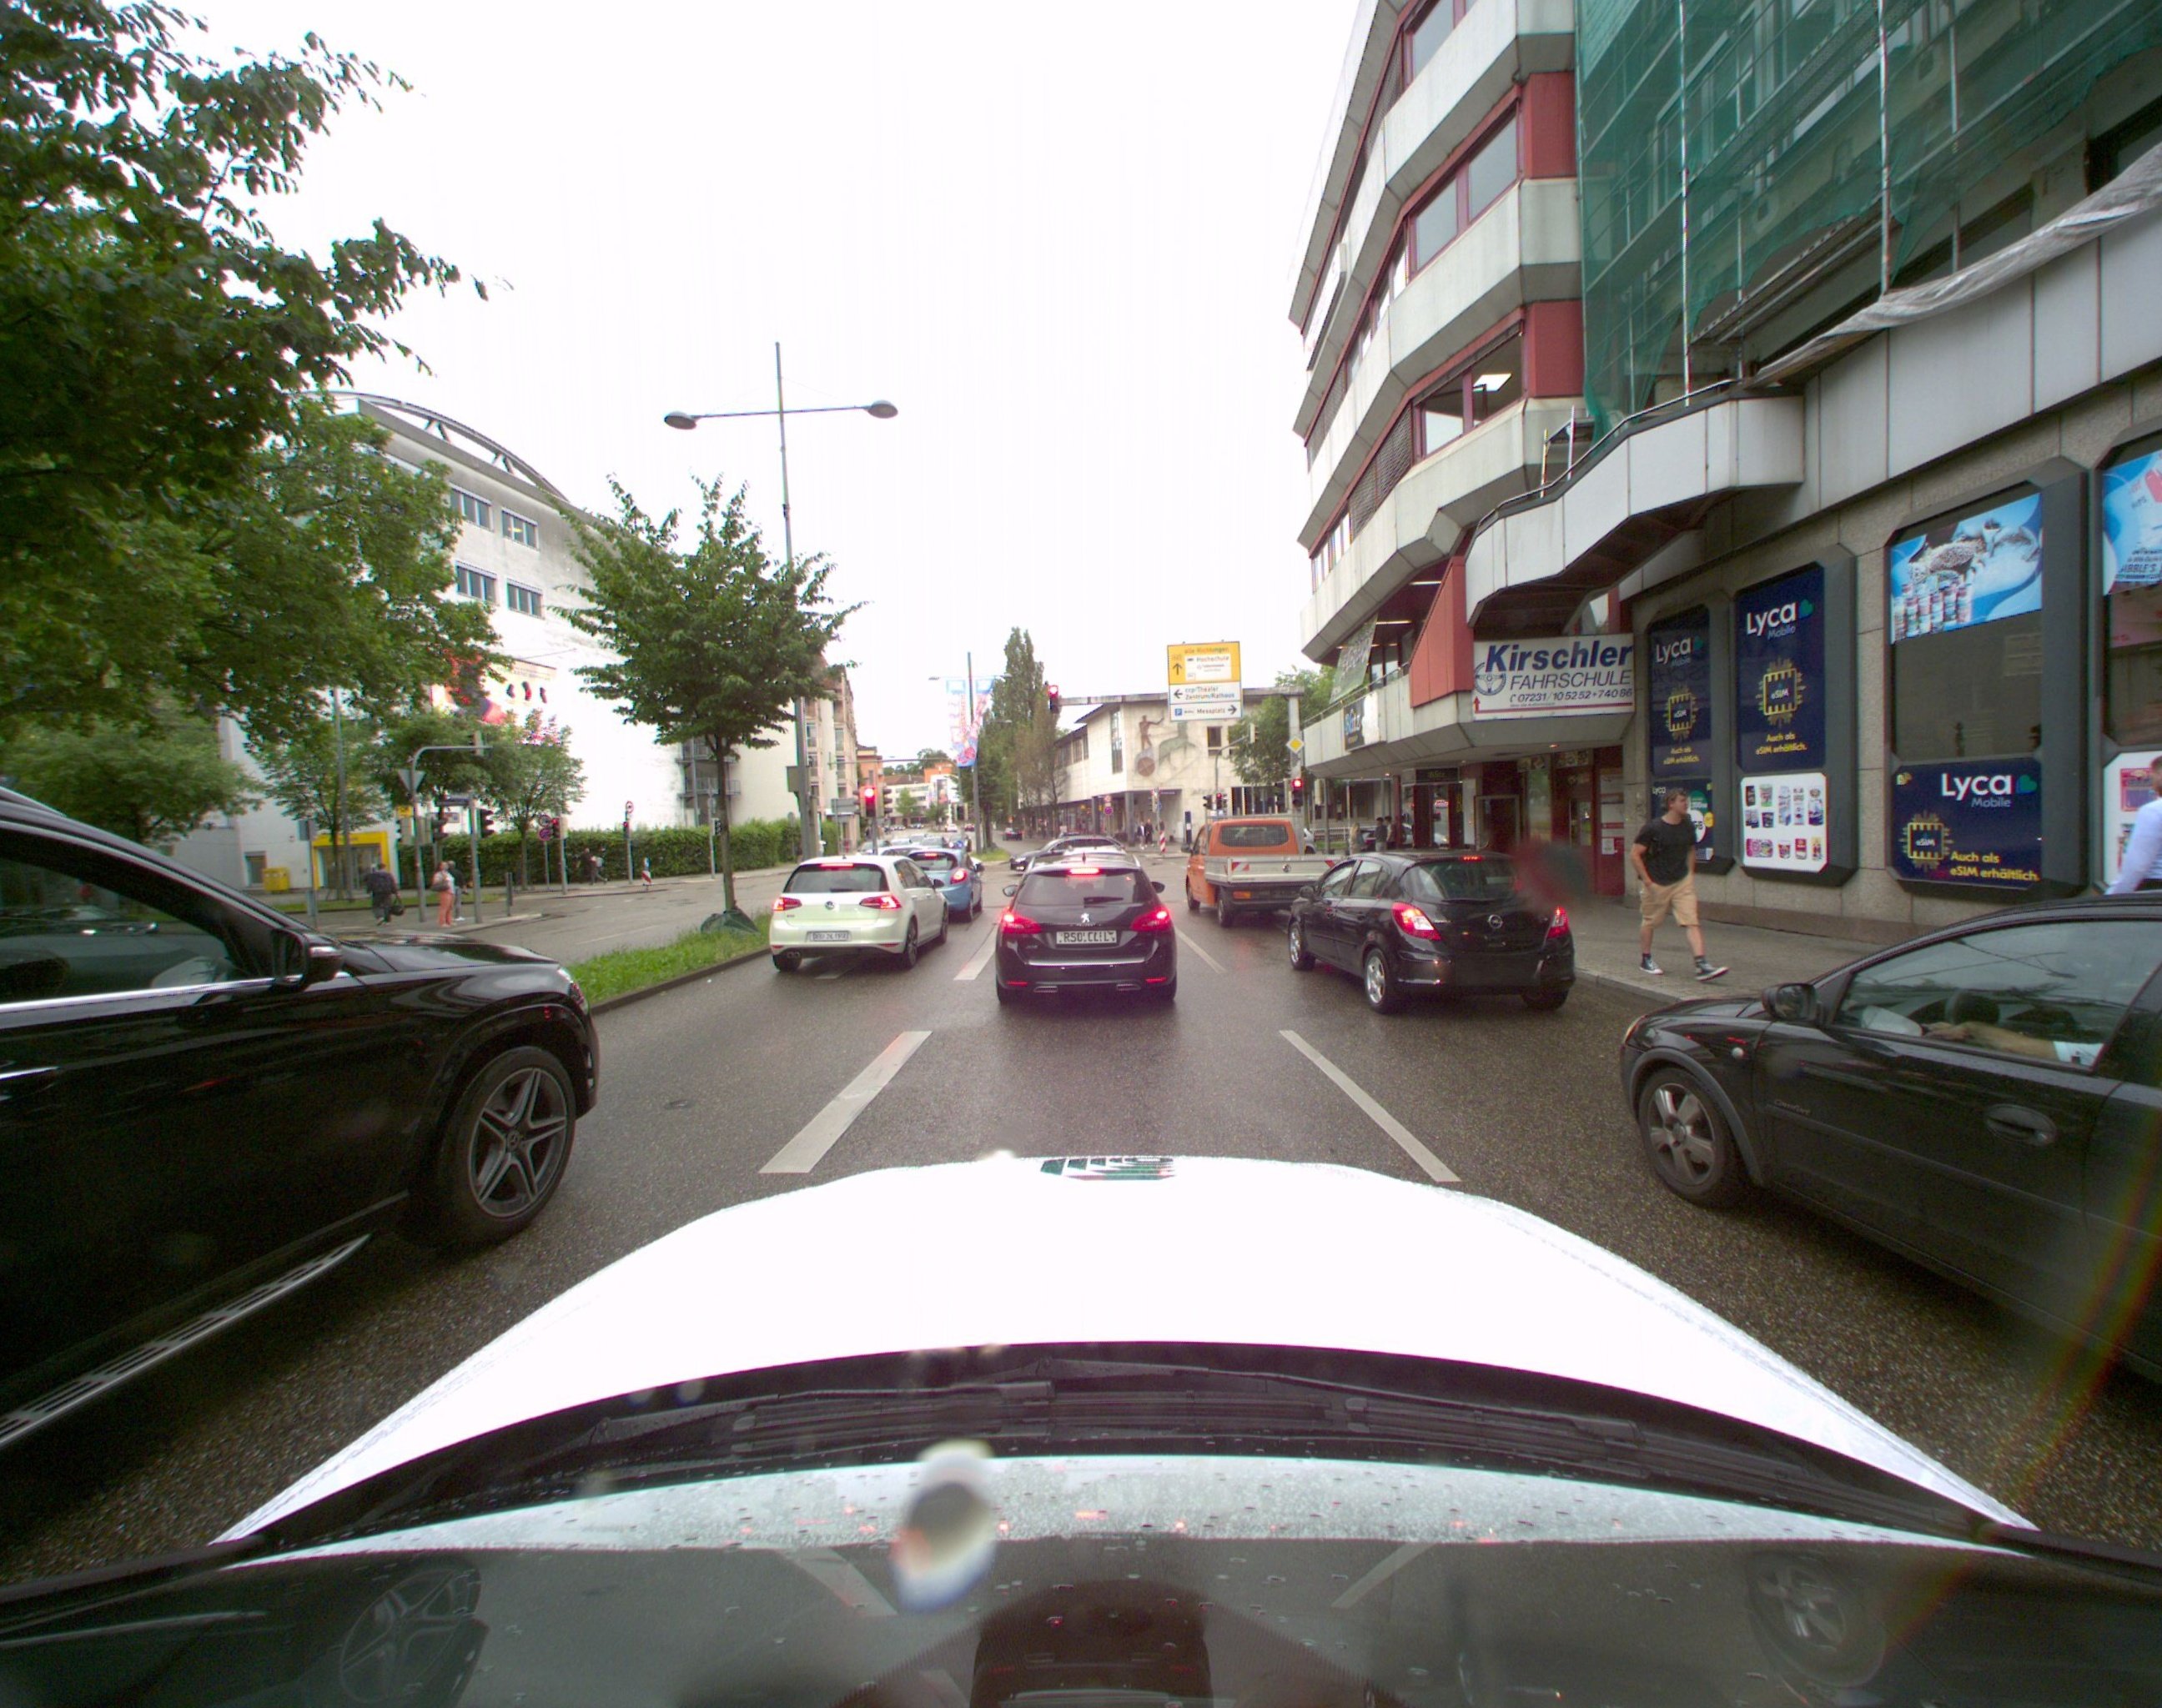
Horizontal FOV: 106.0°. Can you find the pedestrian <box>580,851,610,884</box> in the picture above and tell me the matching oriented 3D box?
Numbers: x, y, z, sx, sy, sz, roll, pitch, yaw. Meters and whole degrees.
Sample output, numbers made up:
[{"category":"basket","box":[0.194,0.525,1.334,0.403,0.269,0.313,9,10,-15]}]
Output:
[{"category":"pedestrian","box":[-23.866,0.667,39.971,1.059,1.578,0.683,-1,-1,-3]}]

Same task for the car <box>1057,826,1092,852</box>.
[{"category":"car","box":[-0.387,-1.016,53.938,1.778,1.454,4.515,-4,3,6]}]

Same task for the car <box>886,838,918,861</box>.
[{"category":"car","box":[-12.095,-0.341,55.227,1.630,1.486,3.604,-1,1,-4]}]

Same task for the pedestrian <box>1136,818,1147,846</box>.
[{"category":"pedestrian","box":[3.922,-1.391,52.506,0.633,1.758,0.735,-1,-1,8]}]

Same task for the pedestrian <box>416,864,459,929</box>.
[{"category":"pedestrian","box":[-17.043,1.111,21.577,0.555,1.661,0.580,-2,2,2]}]

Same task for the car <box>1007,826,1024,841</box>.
[{"category":"car","box":[-7.516,-2.354,93.214,1.723,1.490,4.720,-1,-1,-7]}]

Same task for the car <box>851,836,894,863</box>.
[{"category":"car","box":[-11.894,-0.289,46.703,1.569,1.486,3.608,-1,1,-1]}]

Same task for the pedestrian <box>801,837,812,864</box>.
[{"category":"pedestrian","box":[-17.592,-0.213,52.210,0.538,1.748,0.564,-1,-1,-3]}]

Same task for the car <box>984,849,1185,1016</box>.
[{"category":"car","box":[0.028,0.684,9.149,1.772,1.429,3.841,-1,1,0]}]

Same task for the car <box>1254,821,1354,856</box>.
[{"category":"car","box":[9.715,-0.669,35.561,3.896,1.486,1.617,0,-1,-11]}]

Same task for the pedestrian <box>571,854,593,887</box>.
[{"category":"pedestrian","box":[-25.215,0.830,41.192,0.730,1.643,0.638,-1,-1,-6]}]

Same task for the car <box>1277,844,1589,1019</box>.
[{"category":"car","box":[3.396,0.621,8.693,1.611,1.429,3.840,-1,1,-1]}]

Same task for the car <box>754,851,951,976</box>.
[{"category":"car","box":[-3.034,0.705,11.674,1.772,1.429,3.840,-1,1,-1]}]

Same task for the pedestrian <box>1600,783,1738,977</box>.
[{"category":"pedestrian","box":[5.922,0.257,8.262,0.736,1.816,0.776,-6,-1,13]}]

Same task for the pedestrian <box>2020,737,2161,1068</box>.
[{"category":"pedestrian","box":[6.635,0.281,5.091,0.733,1.935,0.640,-1,-1,1]}]

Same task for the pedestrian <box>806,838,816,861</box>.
[{"category":"pedestrian","box":[-18.884,-0.302,57.006,0.579,1.599,0.526,-1,-1,-5]}]

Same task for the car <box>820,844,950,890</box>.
[{"category":"car","box":[-6.831,0.430,28.635,4.296,1.486,1.631,-1,1,-13]}]

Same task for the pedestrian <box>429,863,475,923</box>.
[{"category":"pedestrian","box":[-18.425,1.137,23.878,0.750,1.661,0.628,-2,2,1]}]

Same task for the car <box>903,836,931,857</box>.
[{"category":"car","box":[-12.387,-0.603,61.633,1.630,1.486,3.604,-1,1,-4]}]

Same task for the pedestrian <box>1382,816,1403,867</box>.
[{"category":"pedestrian","box":[10.160,-0.400,26.559,0.395,1.640,0.504,-3,-1,2]}]

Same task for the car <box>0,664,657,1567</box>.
[{"category":"car","box":[-3.196,0.550,1.698,1.905,1.870,5.073,-1,-1,1]}]

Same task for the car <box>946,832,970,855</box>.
[{"category":"car","box":[-9.618,-0.811,63.688,1.743,1.640,3.988,0,-1,-9]}]

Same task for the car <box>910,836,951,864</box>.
[{"category":"car","box":[-8.900,-0.206,48.341,1.739,1.579,3.997,-1,-1,-1]}]

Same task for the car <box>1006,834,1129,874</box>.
[{"category":"car","box":[-0.572,-0.033,32.999,4.730,1.486,1.630,-1,1,-15]}]

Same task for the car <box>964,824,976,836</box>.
[{"category":"car","box":[-20.211,-4.404,148.054,1.709,1.936,3.979,0,-1,-15]}]

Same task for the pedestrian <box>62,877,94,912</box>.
[{"category":"pedestrian","box":[-48.613,1.968,39.486,0.633,1.643,0.735,-1,-1,8]}]

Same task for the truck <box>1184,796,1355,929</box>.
[{"category":"truck","box":[3.434,0.079,15.929,2.170,2.172,5.020,-1,1,0]}]

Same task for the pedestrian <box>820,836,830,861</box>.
[{"category":"pedestrian","box":[-18.125,-0.393,57.687,0.595,1.728,0.655,-1,-1,-7]}]

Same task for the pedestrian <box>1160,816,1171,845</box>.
[{"category":"pedestrian","box":[5.576,-1.532,53.806,0.633,1.897,0.735,-1,-1,8]}]

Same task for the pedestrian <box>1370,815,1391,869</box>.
[{"category":"pedestrian","box":[9.630,-0.378,26.193,0.424,1.682,0.450,-3,-1,0]}]

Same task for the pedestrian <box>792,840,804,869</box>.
[{"category":"pedestrian","box":[-17.496,0.029,50.386,0.538,1.748,0.745,-1,-1,-7]}]

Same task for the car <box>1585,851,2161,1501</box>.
[{"category":"car","box":[3.266,0.736,2.295,1.600,1.429,3.626,-1,1,3]}]

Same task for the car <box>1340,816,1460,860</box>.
[{"category":"car","box":[12.893,-0.652,32.990,4.226,1.565,1.699,-3,1,-9]}]

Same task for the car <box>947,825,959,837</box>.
[{"category":"car","box":[-23.092,-4.170,146.858,1.709,1.882,3.979,0,-1,-15]}]

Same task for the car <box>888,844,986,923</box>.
[{"category":"car","box":[-3.004,0.552,17.651,1.629,1.486,3.606,-1,1,-3]}]

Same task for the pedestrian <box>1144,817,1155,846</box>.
[{"category":"pedestrian","box":[4.559,-1.500,53.998,0.633,1.897,0.735,-1,-1,8]}]

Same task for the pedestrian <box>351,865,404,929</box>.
[{"category":"pedestrian","box":[-20.091,1.221,23.261,0.917,1.784,0.712,-1,-1,13]}]

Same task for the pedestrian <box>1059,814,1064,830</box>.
[{"category":"pedestrian","box":[-2.131,-3.490,88.942,0.469,1.748,0.537,0,-1,-19]}]

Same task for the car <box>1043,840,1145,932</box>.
[{"category":"car","box":[0.274,0.505,15.463,1.690,1.486,3.795,-1,1,2]}]
